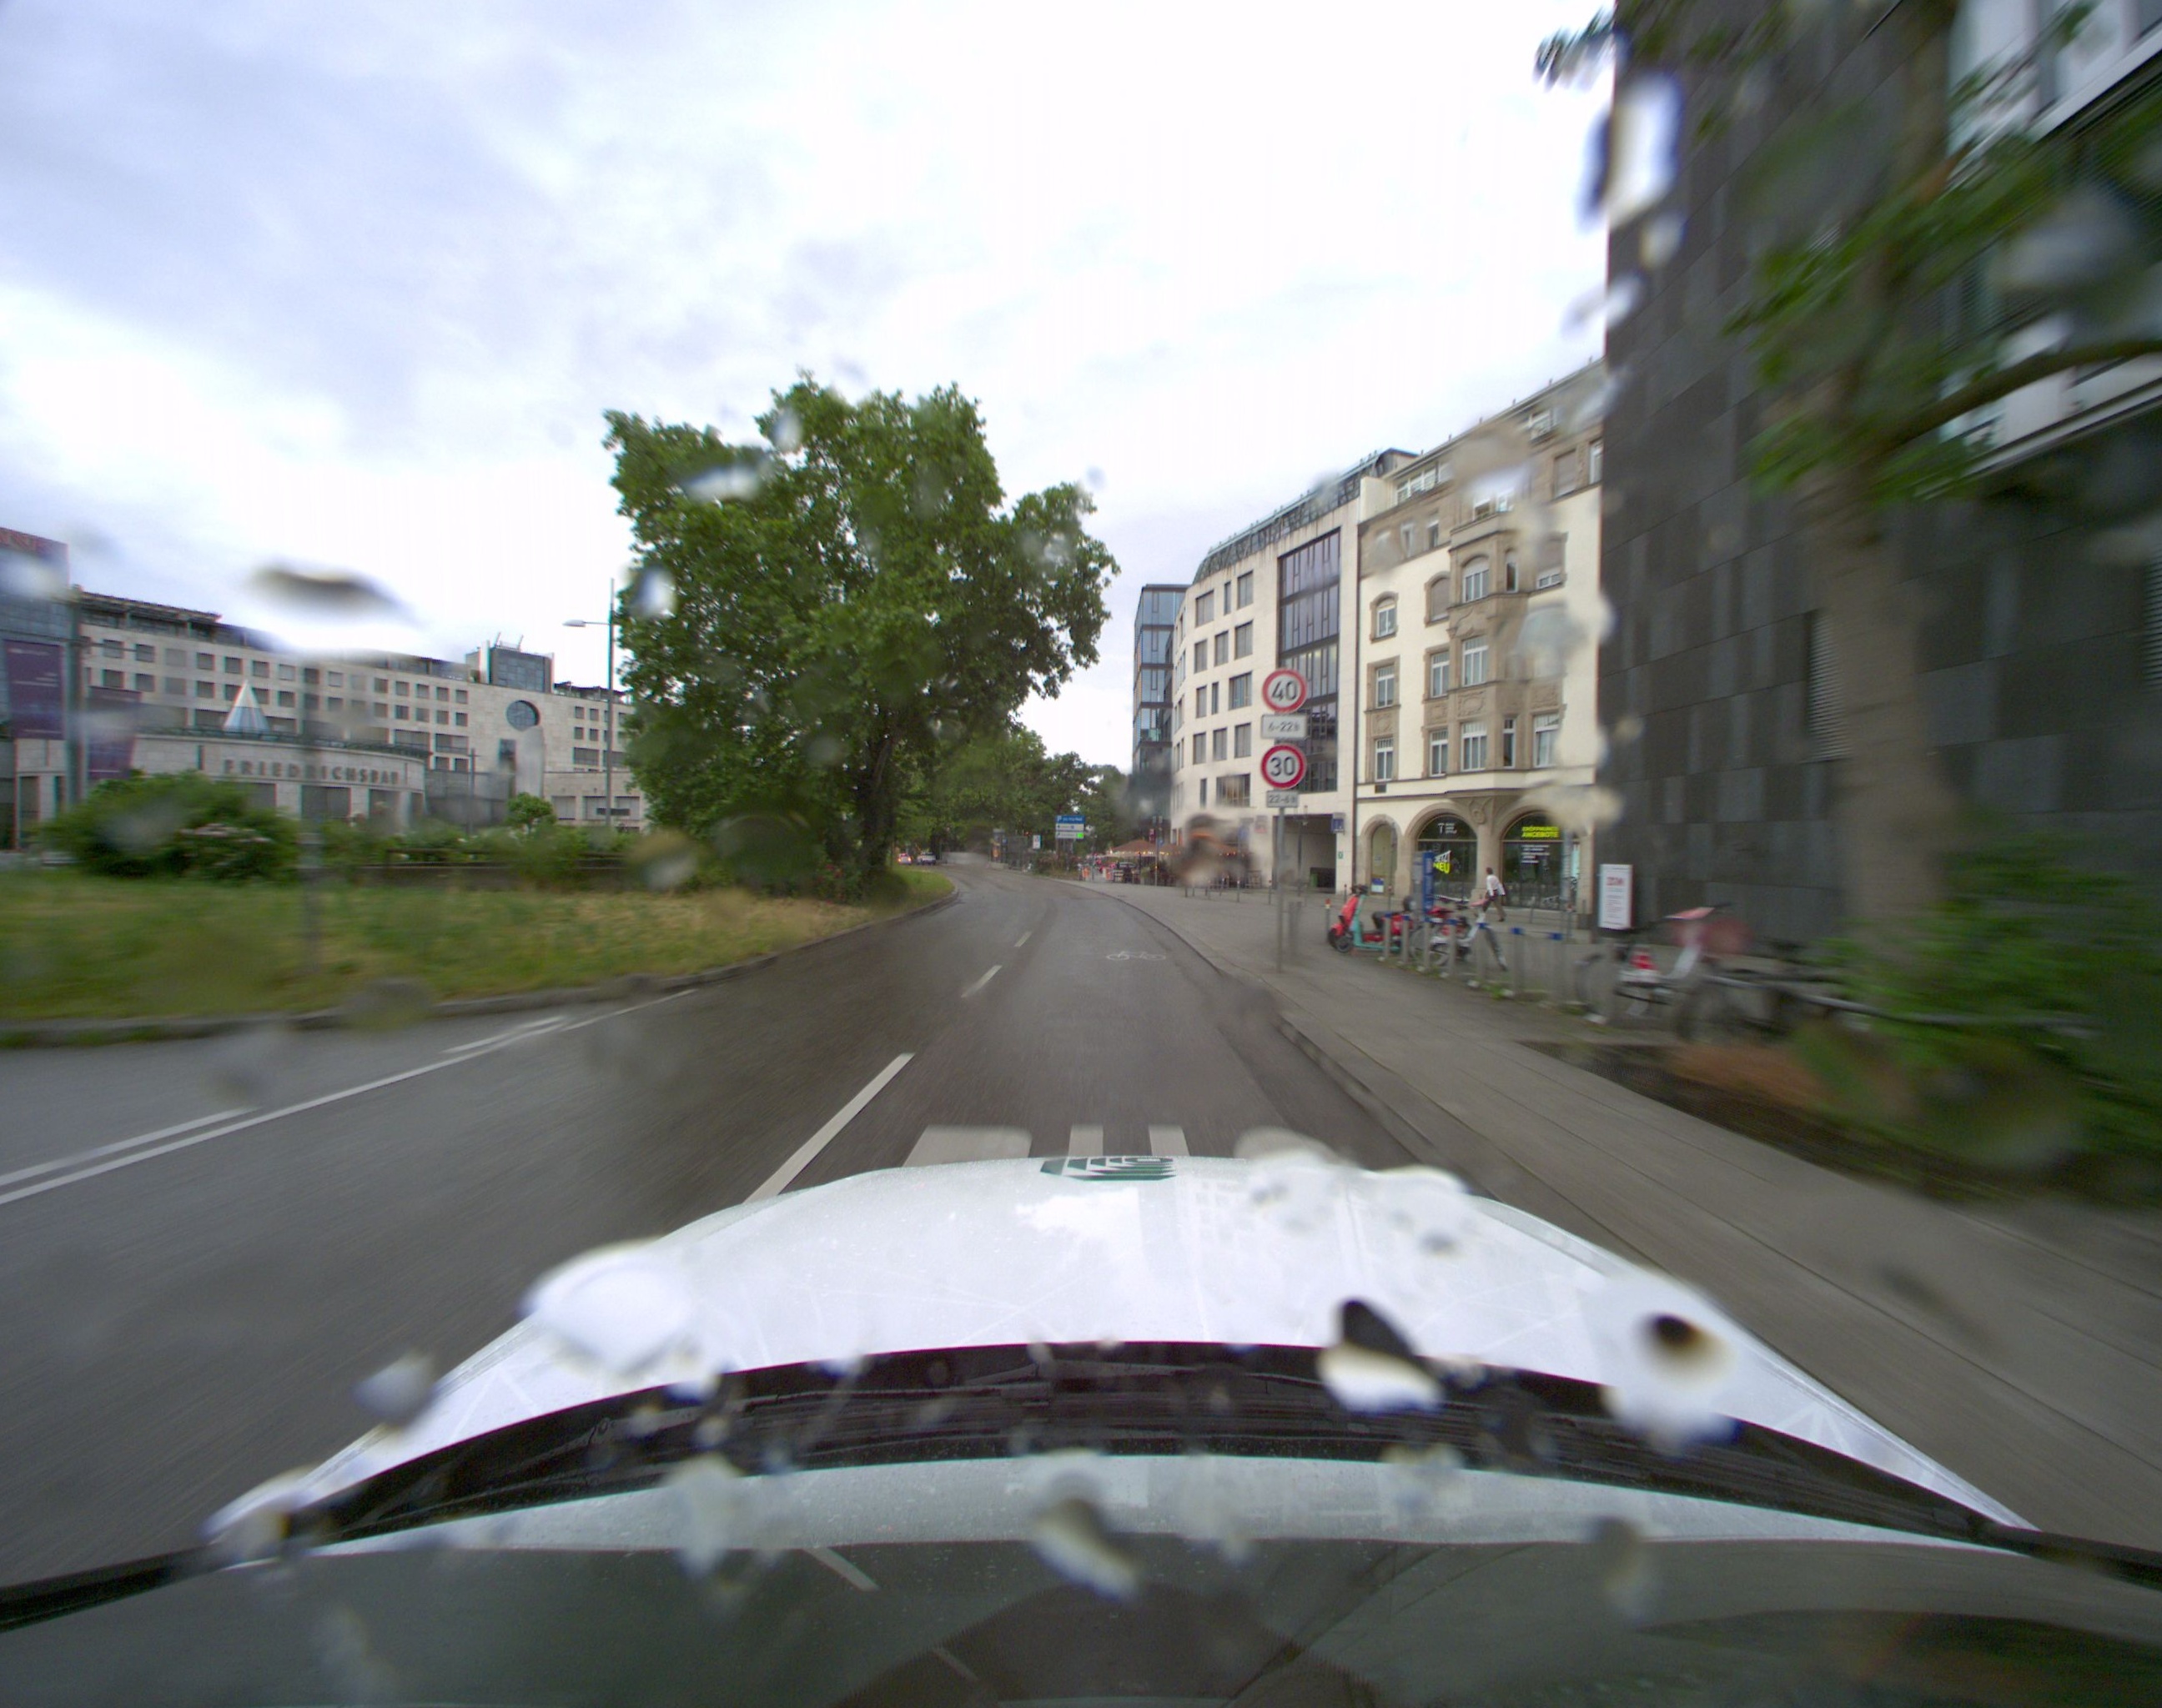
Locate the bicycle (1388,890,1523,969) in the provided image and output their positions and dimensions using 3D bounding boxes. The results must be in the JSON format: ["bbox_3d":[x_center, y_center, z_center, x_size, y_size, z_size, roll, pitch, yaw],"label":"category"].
[{"bbox_3d":[5.767,1.156,12.577,1.791,1.108,0.669,2,-2,-5],"label":"bicycle"}]

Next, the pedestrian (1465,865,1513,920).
[{"bbox_3d":[14.228,1.324,28.419,0.872,1.838,1.244,3,-2,-13],"label":"pedestrian"}]

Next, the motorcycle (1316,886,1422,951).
[{"bbox_3d":[5.451,1.209,15.452,1.789,1.140,0.595,2,-2,-5],"label":"motorcycle"}]

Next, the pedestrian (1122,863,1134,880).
[{"bbox_3d":[3.790,1.436,65.875,0.815,1.326,0.635,3,-1,-3],"label":"pedestrian"}]

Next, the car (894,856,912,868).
[{"bbox_3d":[-22.602,1.025,103.441,1.596,1.491,3.479,-1,0,-22],"label":"car"}]

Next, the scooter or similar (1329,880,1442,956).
[{"bbox_3d":[5.381,1.122,14.427,1.789,1.243,0.595,2,-2,-5],"label":"scooter or similar"}]

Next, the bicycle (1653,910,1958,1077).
[{"bbox_3d":[5.199,0.982,5.887,1.790,1.068,0.555,2,-2,-4],"label":"bicycle"}]

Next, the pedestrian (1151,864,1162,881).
[{"bbox_3d":[6.186,1.539,66.725,0.815,1.326,0.635,3,-1,-3],"label":"pedestrian"}]

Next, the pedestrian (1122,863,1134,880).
[{"bbox_3d":[3.847,1.401,66.741,0.815,1.326,0.635,3,-1,-3],"label":"pedestrian"}]

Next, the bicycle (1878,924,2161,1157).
[{"bbox_3d":[5.289,0.948,4.259,1.790,1.068,0.555,2,-2,-4],"label":"bicycle"}]

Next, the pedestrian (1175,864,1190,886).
[{"bbox_3d":[6.306,1.278,50.712,0.772,1.326,0.635,3,-1,-4],"label":"pedestrian"}]

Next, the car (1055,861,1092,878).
[{"bbox_3d":[-0.901,1.833,95.055,4.088,1.621,1.860,4,-2,-4],"label":"car"}]

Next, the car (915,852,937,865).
[{"bbox_3d":[-20.398,0.636,107.172,1.954,1.666,4.313,2,-1,-22],"label":"car"}]

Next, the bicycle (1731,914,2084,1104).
[{"bbox_3d":[5.243,0.964,5.210,1.790,1.068,0.555,2,-2,-4],"label":"bicycle"}]

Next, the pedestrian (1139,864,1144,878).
[{"bbox_3d":[5.933,1.656,80.029,0.433,1.403,0.478,0,-1,-1],"label":"pedestrian"}]

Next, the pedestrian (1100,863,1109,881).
[{"bbox_3d":[1.835,1.421,64.140,0.604,1.326,0.567,3,-1,-3],"label":"pedestrian"}]

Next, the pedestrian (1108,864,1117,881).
[{"bbox_3d":[2.485,1.439,64.213,0.604,1.326,0.567,3,-1,-3],"label":"pedestrian"}]

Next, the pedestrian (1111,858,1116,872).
[{"bbox_3d":[4.387,1.509,109.849,0.621,1.933,0.789,2,-1,8],"label":"pedestrian"}]

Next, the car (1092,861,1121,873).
[{"bbox_3d":[3.152,1.645,102.818,1.623,1.416,3.486,3,-1,-43],"label":"car"}]

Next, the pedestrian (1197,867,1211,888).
[{"bbox_3d":[8.287,1.589,55.033,0.629,1.326,0.631,4,-1,-23],"label":"pedestrian"}]

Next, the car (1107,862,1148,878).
[{"bbox_3d":[5.379,1.812,94.780,4.718,1.691,2.005,2,0,0],"label":"car"}]

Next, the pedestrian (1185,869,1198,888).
[{"bbox_3d":[7.754,1.716,57.171,0.629,1.326,0.631,4,-1,-23],"label":"pedestrian"}]

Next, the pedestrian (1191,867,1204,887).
[{"bbox_3d":[8.000,1.598,55.845,0.629,1.326,0.631,4,-1,-23],"label":"pedestrian"}]

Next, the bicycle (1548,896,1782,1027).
[{"bbox_3d":[5.482,0.994,7.695,1.791,1.108,0.669,2,-2,-5],"label":"bicycle"}]

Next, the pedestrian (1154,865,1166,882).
[{"bbox_3d":[6.379,1.586,65.880,0.815,1.326,0.635,3,-1,-3],"label":"pedestrian"}]
